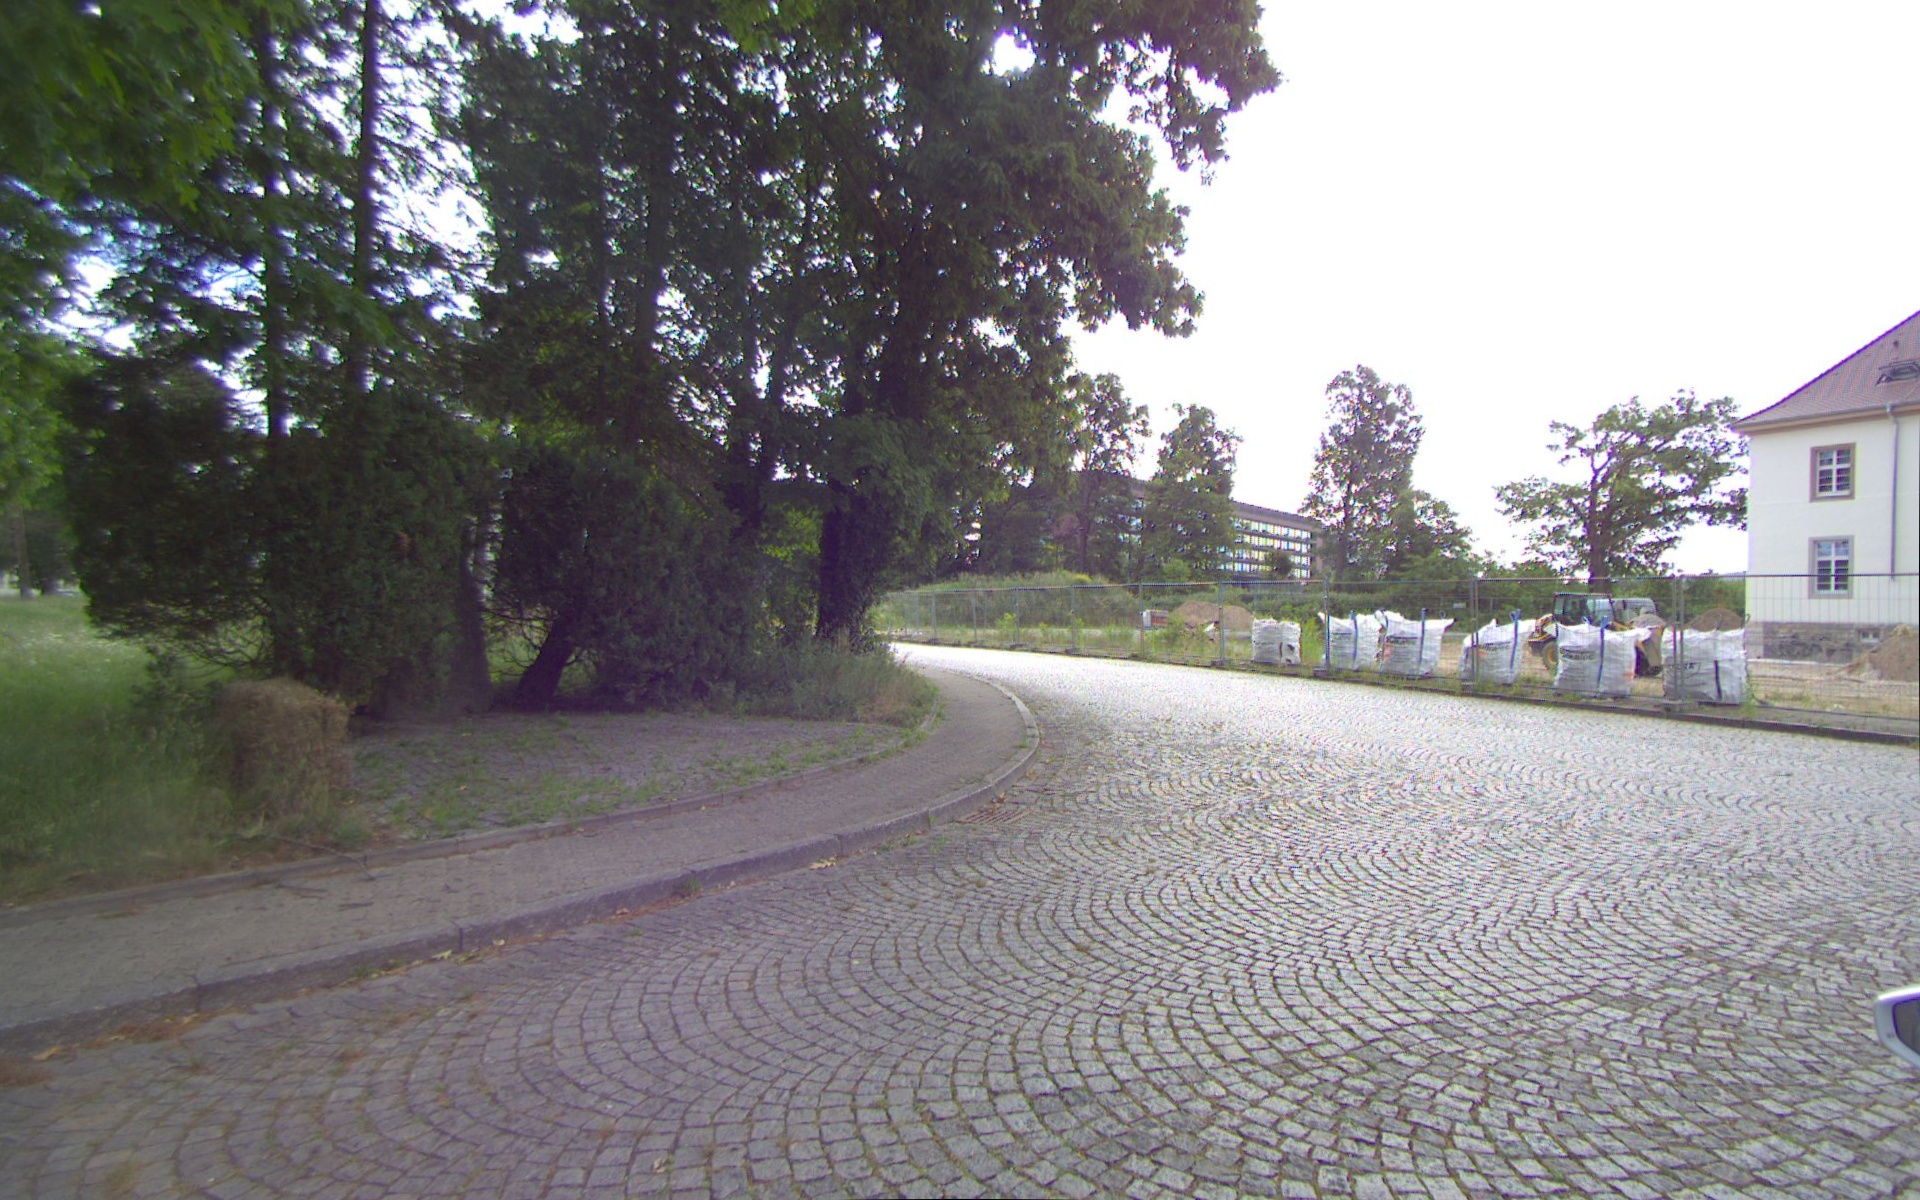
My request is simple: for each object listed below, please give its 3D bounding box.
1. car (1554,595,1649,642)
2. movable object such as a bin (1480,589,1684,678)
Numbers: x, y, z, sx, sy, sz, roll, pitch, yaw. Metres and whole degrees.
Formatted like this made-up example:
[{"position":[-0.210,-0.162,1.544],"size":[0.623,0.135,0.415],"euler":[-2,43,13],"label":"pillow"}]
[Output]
[{"position":[31.202,0.914,48.833],"size":[4.845,2.179,2.056],"euler":[1,0,-32],"label":"car"},{"position":[19.709,0.987,32.128],"size":[1.974,2.590,5.310],"euler":[1,0,-26],"label":"movable object such as a bin"}]
